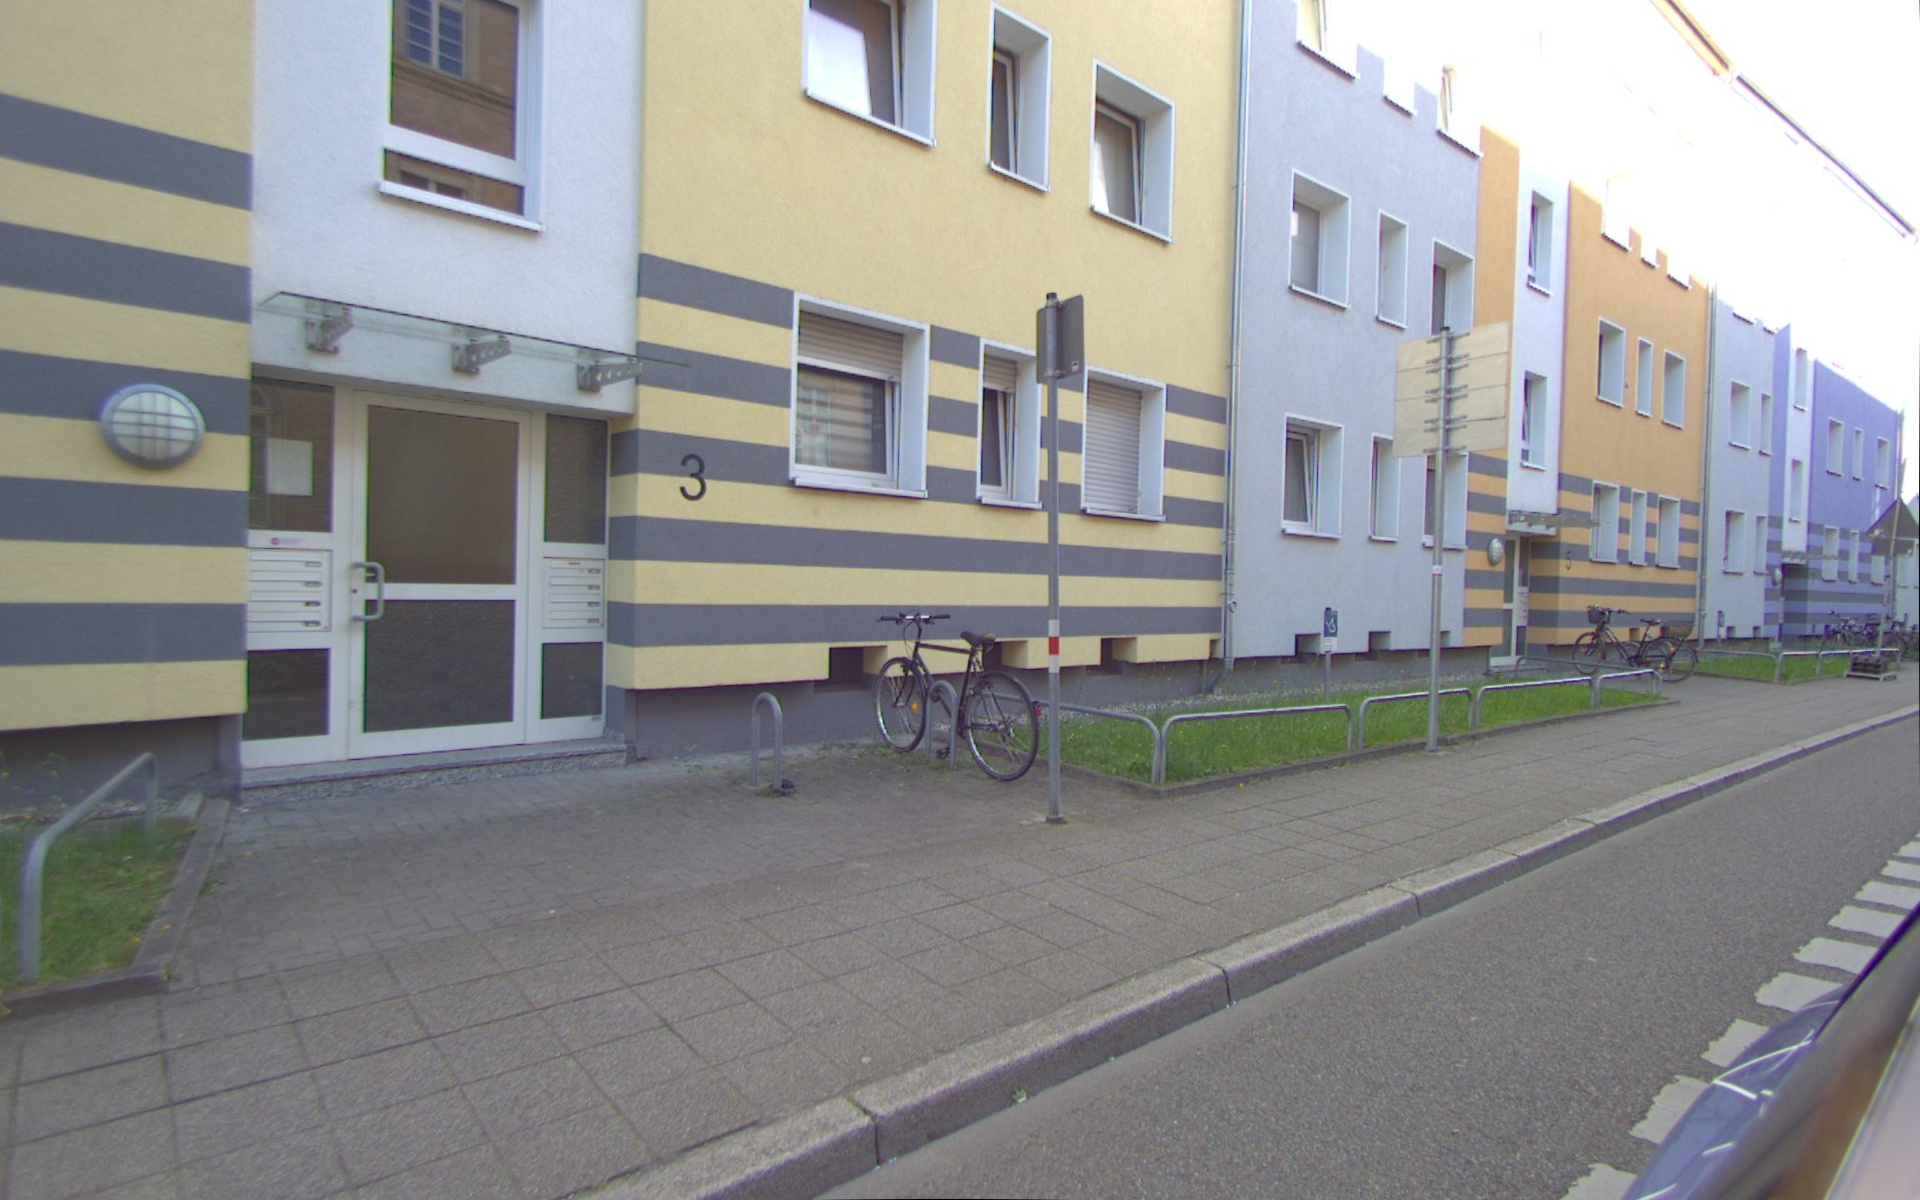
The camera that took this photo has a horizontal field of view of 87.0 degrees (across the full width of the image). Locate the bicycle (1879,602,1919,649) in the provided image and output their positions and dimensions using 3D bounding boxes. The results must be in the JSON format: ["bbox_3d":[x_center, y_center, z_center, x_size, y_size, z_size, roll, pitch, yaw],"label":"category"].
[{"bbox_3d":[24.130,0.652,25.268,0.475,1.166,1.678,1,1,-37],"label":"bicycle"}]

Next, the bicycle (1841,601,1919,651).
[{"bbox_3d":[23.302,0.640,25.411,0.475,1.166,1.678,1,1,-37],"label":"bicycle"}]

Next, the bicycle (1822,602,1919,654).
[{"bbox_3d":[22.221,0.658,24.719,0.475,1.166,1.678,1,1,-37],"label":"bicycle"}]

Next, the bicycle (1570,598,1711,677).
[{"bbox_3d":[10.682,0.560,15.936,1.775,1.137,0.476,3,1,44],"label":"bicycle"}]

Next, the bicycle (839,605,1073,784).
[{"bbox_3d":[-0.080,0.586,7.008,1.775,1.031,0.476,3,1,44],"label":"bicycle"}]
